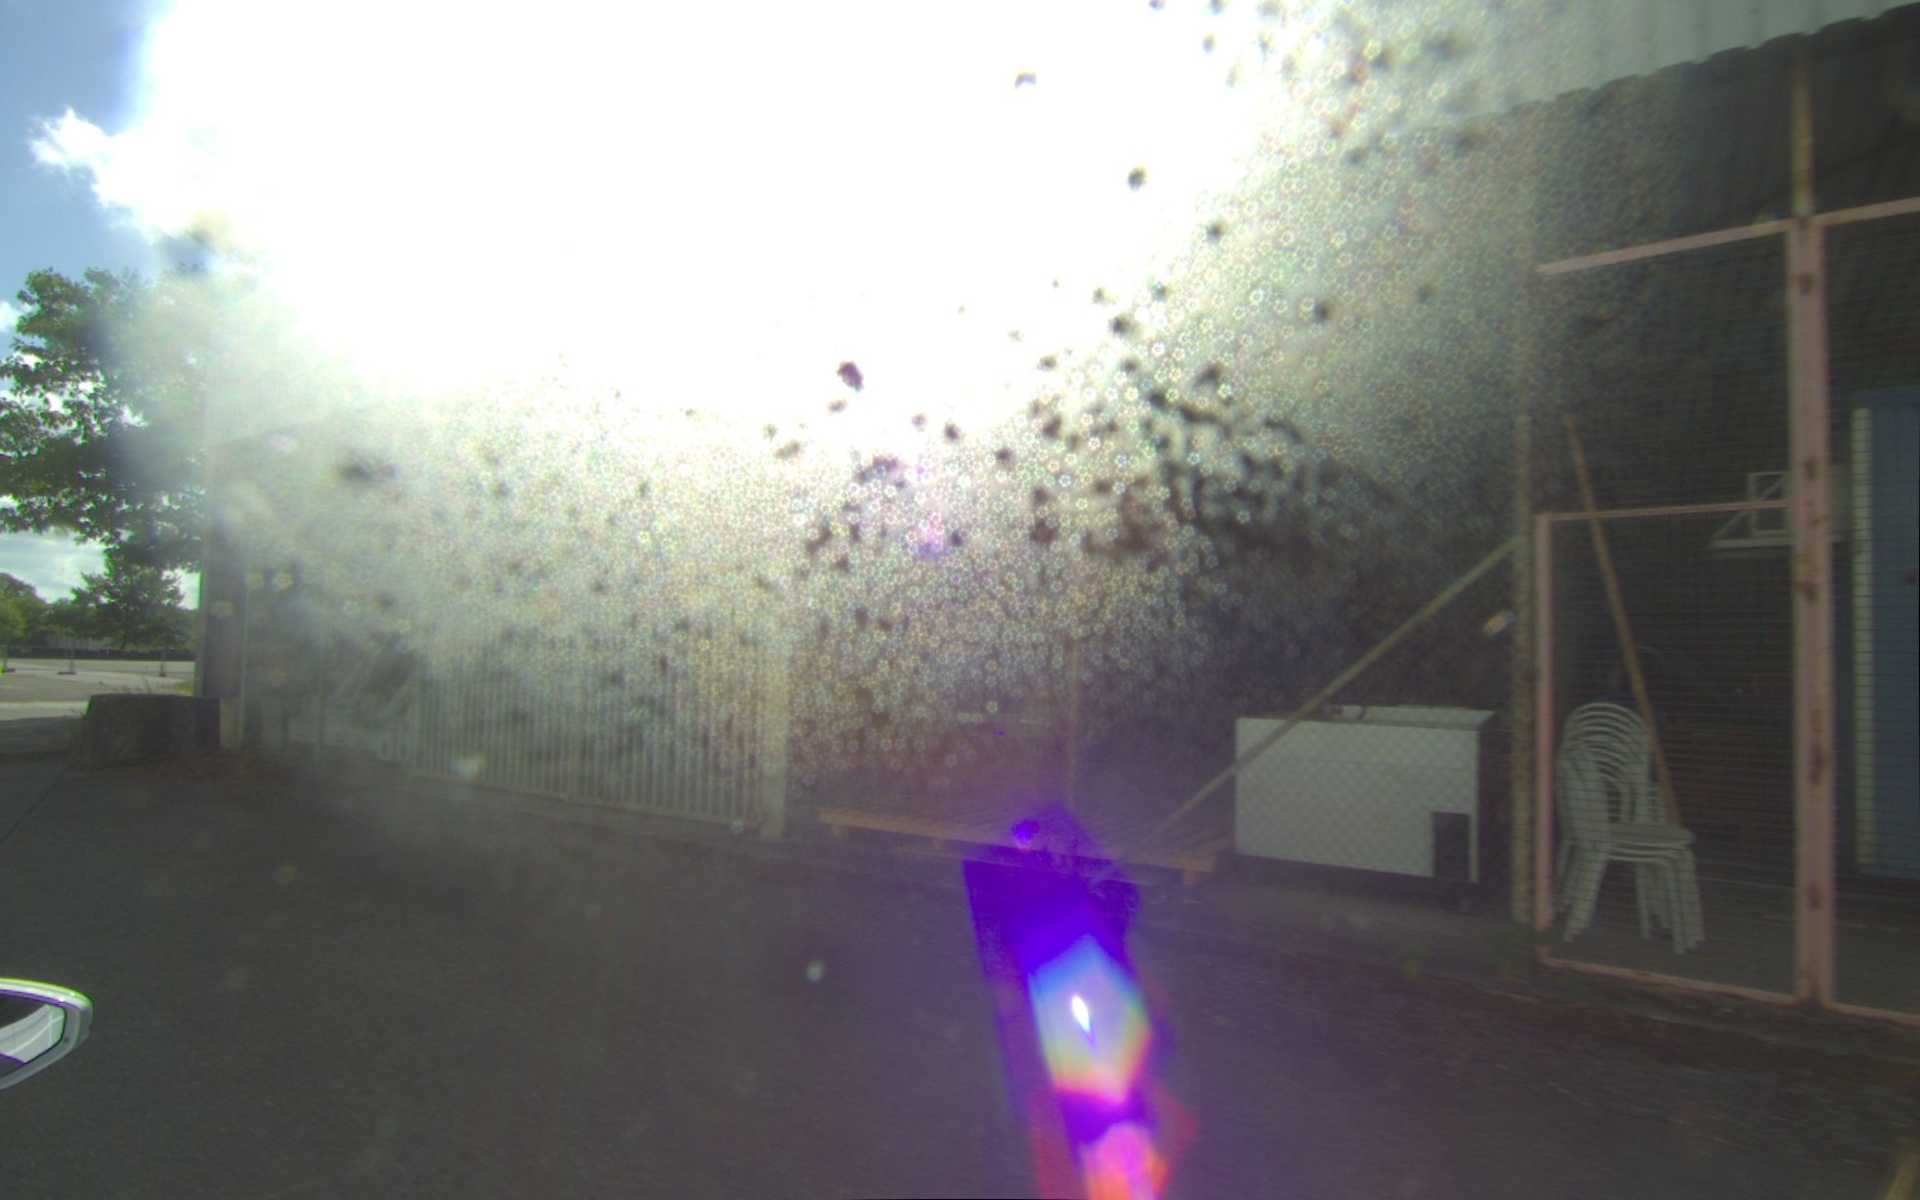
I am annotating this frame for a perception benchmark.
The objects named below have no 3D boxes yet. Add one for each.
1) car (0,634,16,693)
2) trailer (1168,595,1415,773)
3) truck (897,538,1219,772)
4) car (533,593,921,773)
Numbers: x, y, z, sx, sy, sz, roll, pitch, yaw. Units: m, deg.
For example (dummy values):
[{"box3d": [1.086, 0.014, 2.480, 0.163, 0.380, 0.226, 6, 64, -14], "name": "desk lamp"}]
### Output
[{"box3d": [-28.966, 1.712, 28.614, 4.280, 1.613, 1.978, 1, -4, 34], "name": "car"}, {"box3d": [4.823, 1.131, 14.332, 2.432, 2.164, 3.395, -1, -3, 36], "name": "trailer"}, {"box3d": [1.713, 0.807, 14.692, 2.334, 2.739, 5.556, 0, -3, 34], "name": "truck"}, {"box3d": [-2.837, 1.084, 13.627, 2.244, 1.941, 5.165, -1, -4, 29], "name": "car"}]
